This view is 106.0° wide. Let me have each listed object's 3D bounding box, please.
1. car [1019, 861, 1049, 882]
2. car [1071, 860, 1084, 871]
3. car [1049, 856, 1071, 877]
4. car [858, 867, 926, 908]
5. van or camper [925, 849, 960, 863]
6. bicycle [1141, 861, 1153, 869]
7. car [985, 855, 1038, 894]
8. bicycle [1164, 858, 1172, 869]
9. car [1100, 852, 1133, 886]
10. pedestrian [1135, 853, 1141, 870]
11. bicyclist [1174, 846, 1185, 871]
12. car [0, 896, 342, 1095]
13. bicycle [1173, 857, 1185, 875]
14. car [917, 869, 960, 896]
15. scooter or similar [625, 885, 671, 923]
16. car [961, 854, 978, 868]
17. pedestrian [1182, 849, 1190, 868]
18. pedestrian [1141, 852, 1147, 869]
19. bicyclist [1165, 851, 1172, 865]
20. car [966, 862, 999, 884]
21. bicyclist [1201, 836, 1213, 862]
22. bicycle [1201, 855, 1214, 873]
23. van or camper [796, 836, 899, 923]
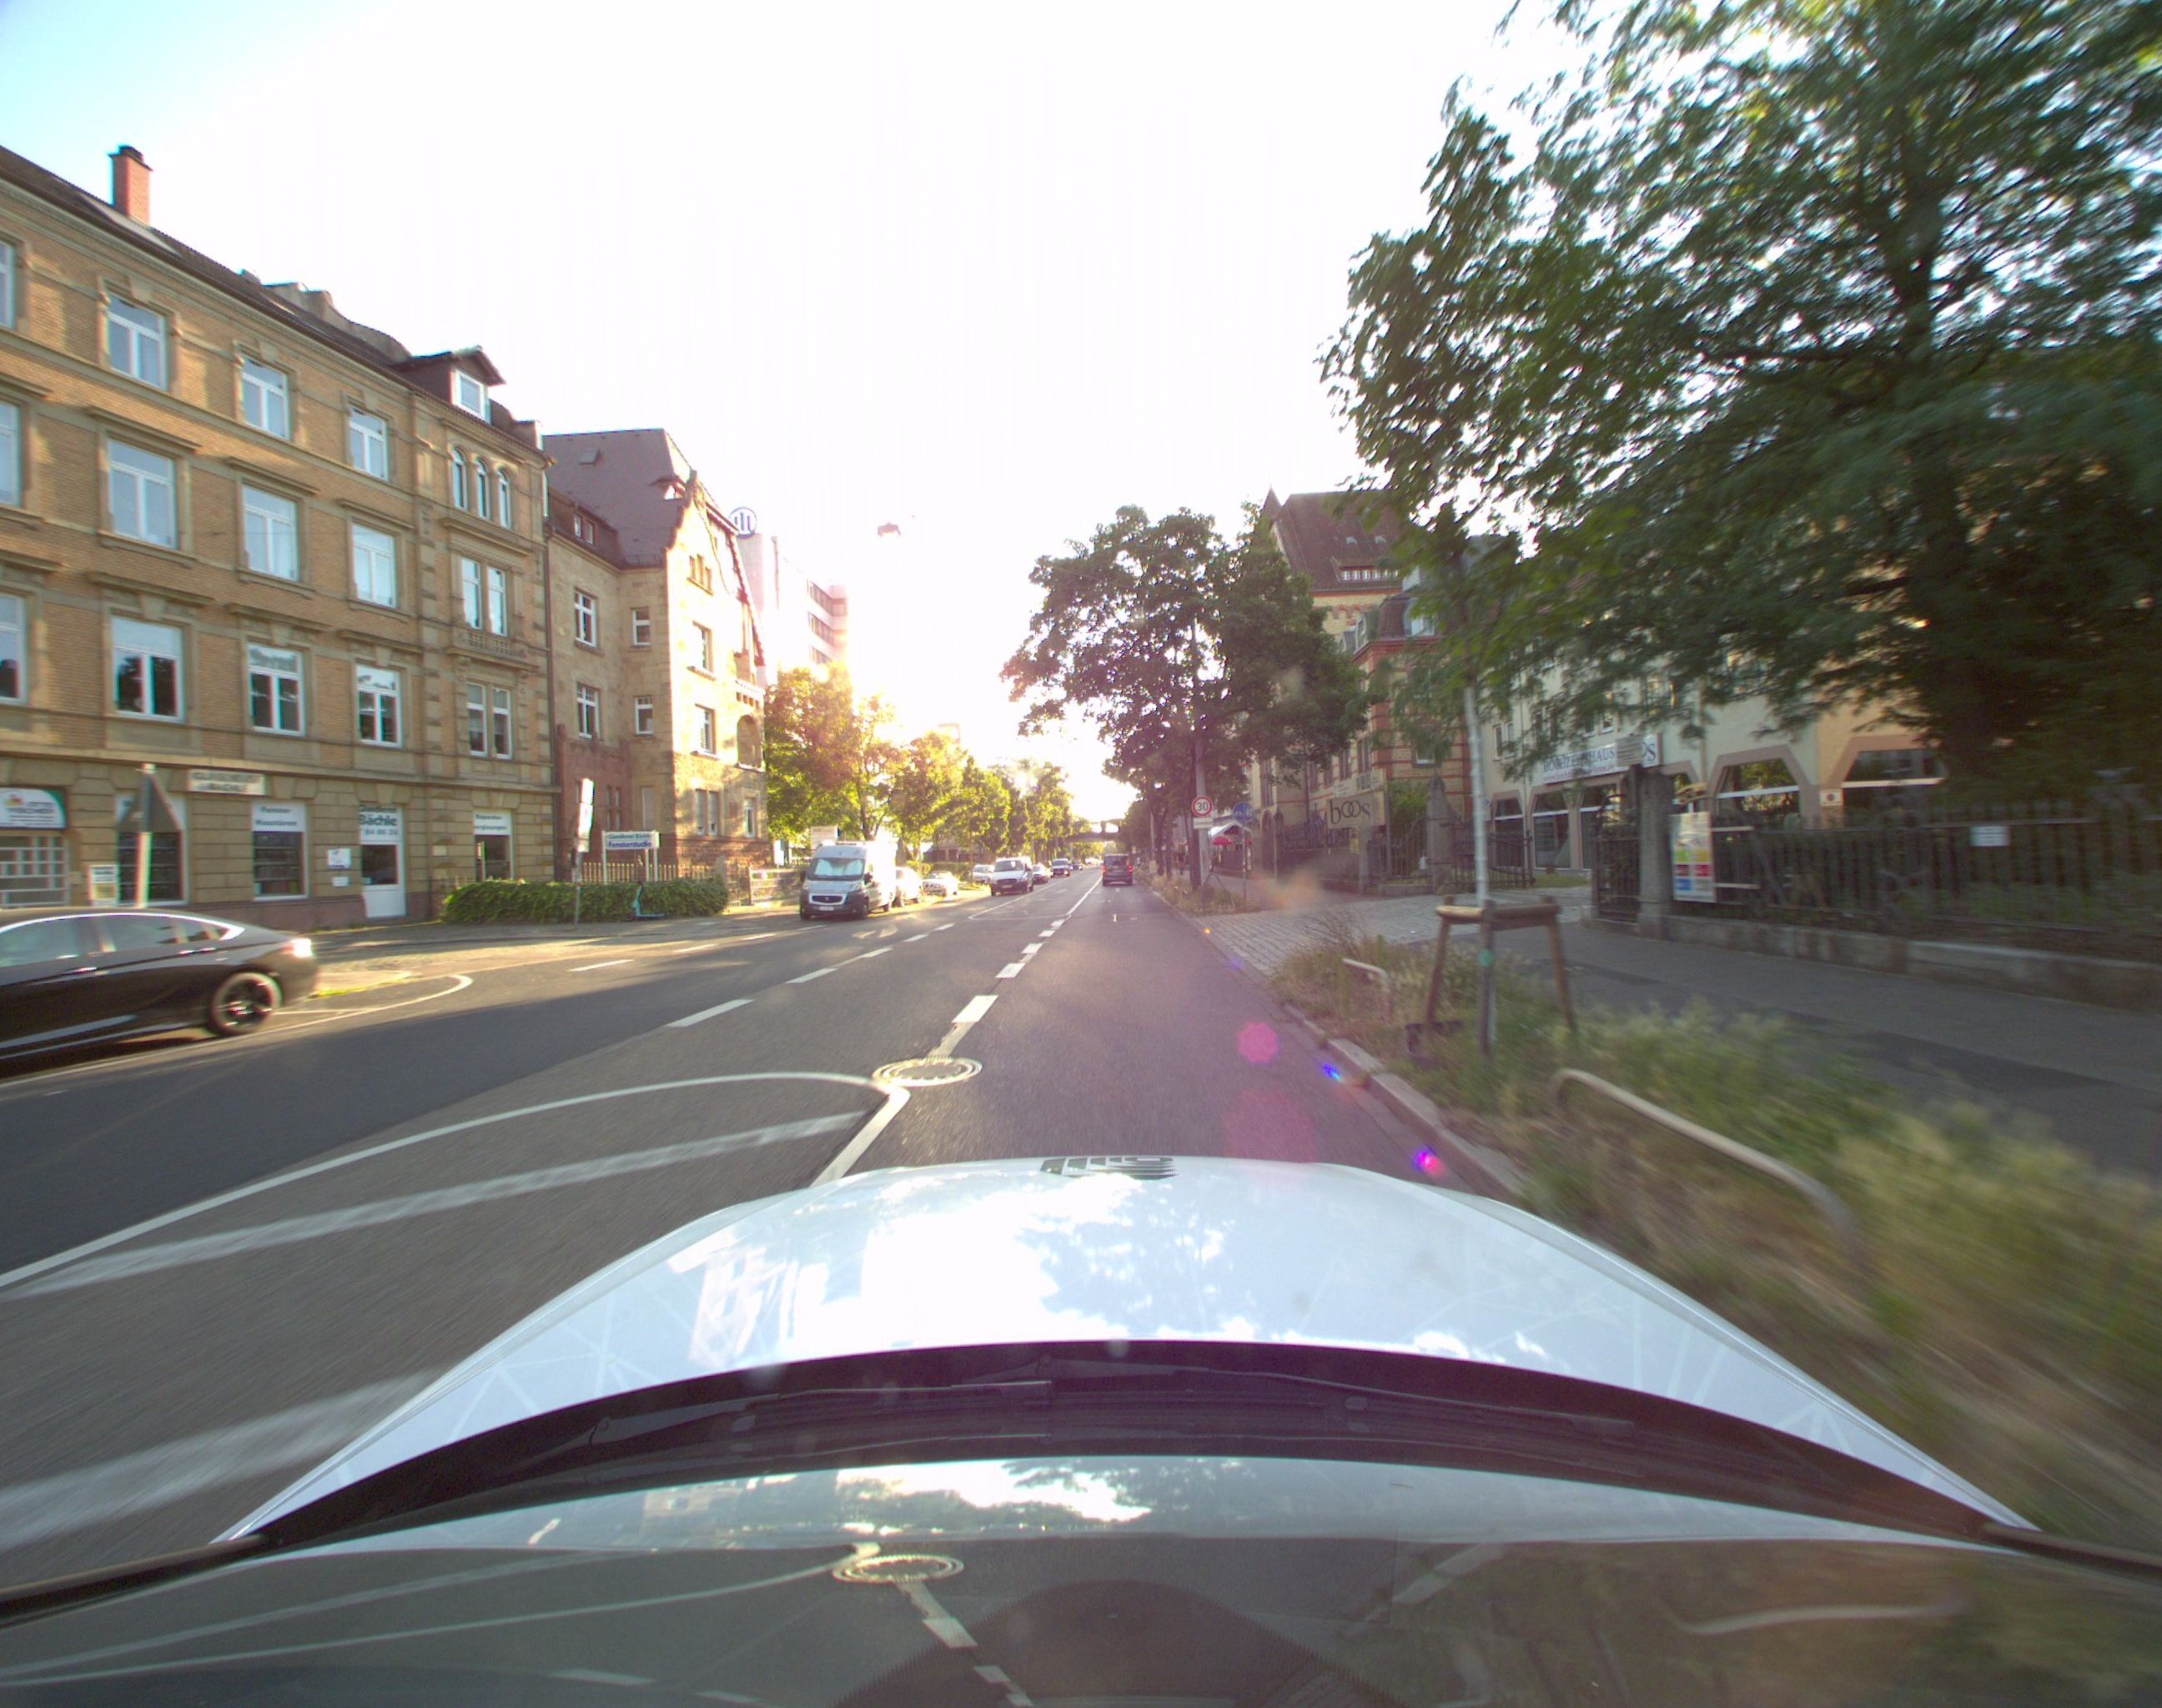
[{"bbox_3d":[-3.438,1.291,60.533,1.752,1.386,4.307,-4,0,2],"label":"car"},{"bbox_3d":[-0.571,1.690,122.204,1.672,1.530,4.002,-4,0,2],"label":"car"},{"bbox_3d":[-2.056,1.214,79.686,1.826,1.852,4.475,-4,0,1],"label":"car"},{"bbox_3d":[-7.972,1.382,34.729,1.740,1.535,4.304,-1,0,1],"label":"car"},{"bbox_3d":[-27.102,0.431,159.475,6.541,2.522,2.449,-1,0,0],"label":"van or camper"},{"bbox_3d":[7.420,1.230,91.325,0.590,0.897,1.975,-1,0,-17],"label":"bicycle"},{"bbox_3d":[-3.618,1.057,43.475,1.985,1.831,5.174,-4,0,3],"label":"car"},{"bbox_3d":[7.796,0.848,72.772,0.577,0.897,1.988,-1,0,3],"label":"bicycle"},{"bbox_3d":[2.253,0.887,50.860,1.879,1.925,3.842,-3,0,3],"label":"car"},{"bbox_3d":[6.386,0.810,90.990,0.505,1.889,0.543,-1,0,-13],"label":"pedestrian"},{"bbox_3d":[5.953,0.278,49.410,0.593,1.532,0.894,-1,0,2],"label":"bicyclist"},{"bbox_3d":[-9.858,1.278,7.248,1.986,1.483,4.831,-3,0,2],"label":"car"},{"bbox_3d":[5.953,0.711,49.439,0.542,1.040,2.090,-1,0,2],"label":"bicycle"},{"bbox_3d":[-7.335,1.452,42.178,1.530,1.248,3.615,-1,0,1],"label":"car"},{"bbox_3d":[-12.992,1.488,24.453,0.285,1.057,1.124,-4,0,45],"label":"scooter or similar"},{"bbox_3d":[-19.288,1.245,141.128,1.985,2.307,5.248,-1,0,3],"label":"car"},{"bbox_3d":[9.103,0.361,70.687,0.642,1.633,0.656,-1,0,2],"label":"pedestrian"},{"bbox_3d":[7.025,0.756,90.523,0.505,1.889,0.543,-1,0,-13],"label":"pedestrian"},{"bbox_3d":[7.802,0.337,72.752,0.583,1.236,1.112,-1,0,2],"label":"bicyclist"},{"bbox_3d":[-6.833,1.288,56.999,1.690,1.451,4.001,-1,0,1],"label":"car"},{"bbox_3d":[7.499,-0.268,48.582,0.593,1.532,0.894,-1,0,2],"label":"bicyclist"},{"bbox_3d":[7.521,0.604,48.502,0.515,1.040,2.090,-1,0,2],"label":"bicycle"},{"bbox_3d":[-7.895,0.791,28.206,1.988,2.668,6.034,-1,0,-2],"label":"van or camper"}]
